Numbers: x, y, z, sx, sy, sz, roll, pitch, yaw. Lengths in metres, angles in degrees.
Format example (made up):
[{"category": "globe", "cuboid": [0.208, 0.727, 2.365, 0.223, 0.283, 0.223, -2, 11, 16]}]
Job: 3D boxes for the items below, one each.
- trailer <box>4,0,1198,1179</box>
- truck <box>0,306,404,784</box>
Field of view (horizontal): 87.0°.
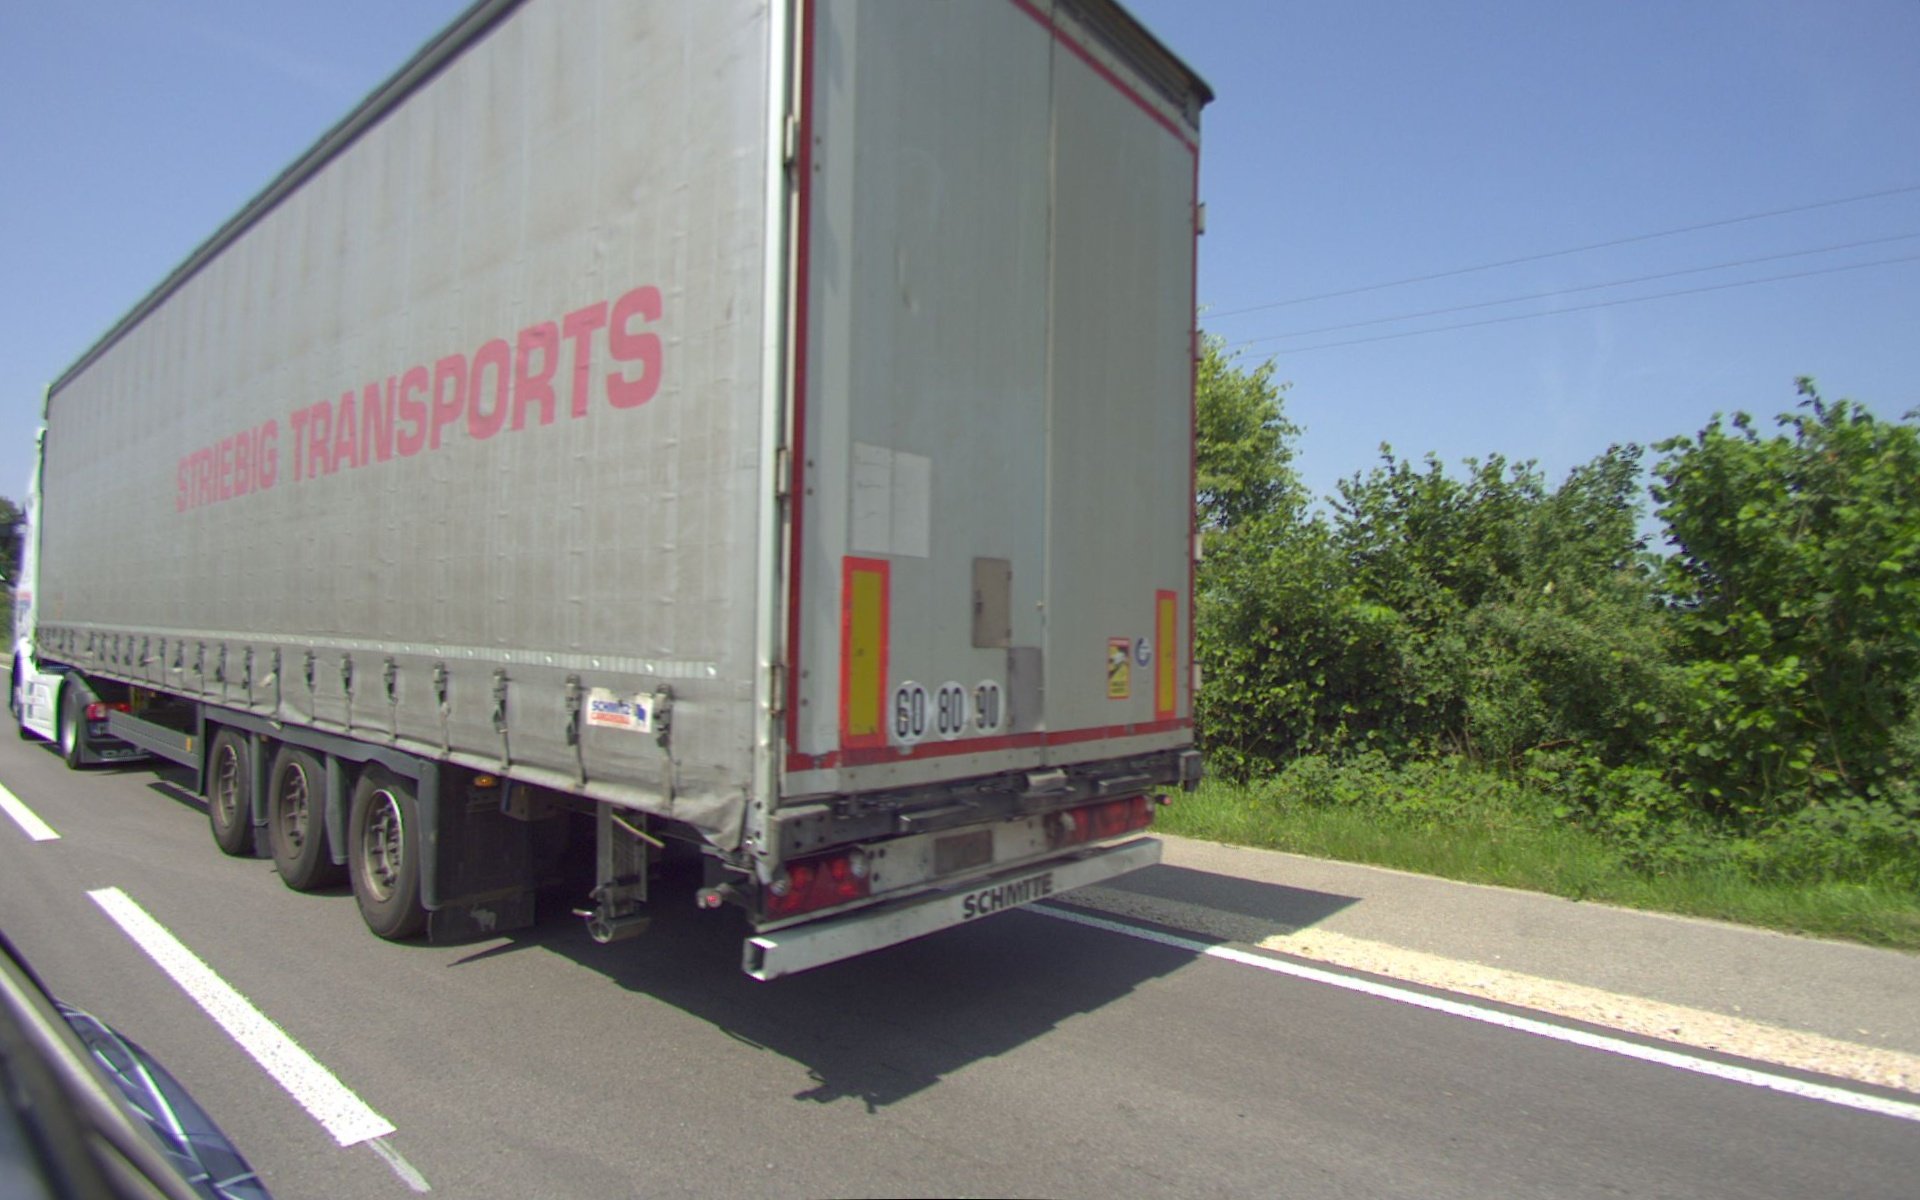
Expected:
[{"category": "trailer", "cuboid": [-4.950, -0.495, 8.234, 13.803, 4.299, 2.688, -2, -4, 41]}, {"category": "truck", "cuboid": [-9.830, -0.382, 12.529, 7.386, 4.299, 2.688, -2, -4, 41]}]
